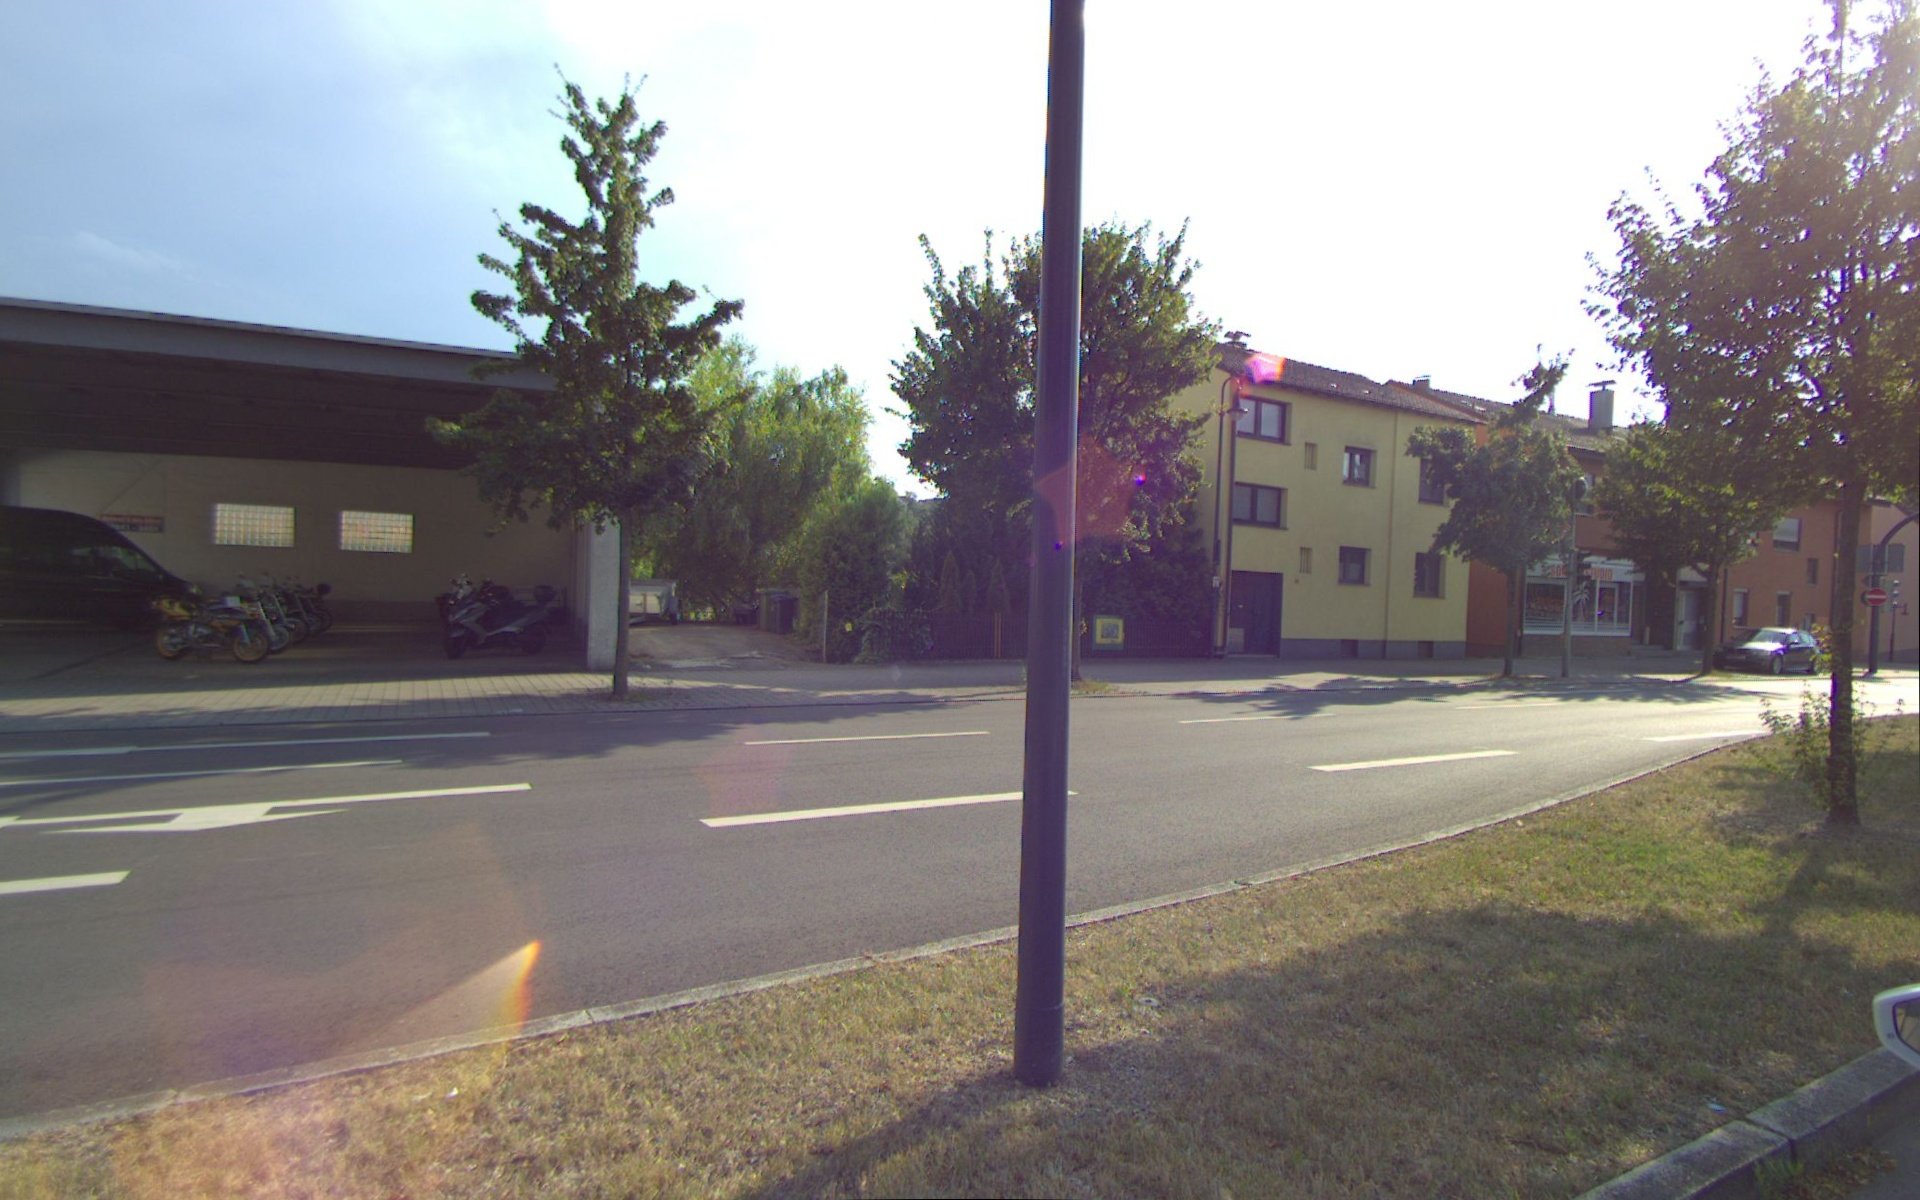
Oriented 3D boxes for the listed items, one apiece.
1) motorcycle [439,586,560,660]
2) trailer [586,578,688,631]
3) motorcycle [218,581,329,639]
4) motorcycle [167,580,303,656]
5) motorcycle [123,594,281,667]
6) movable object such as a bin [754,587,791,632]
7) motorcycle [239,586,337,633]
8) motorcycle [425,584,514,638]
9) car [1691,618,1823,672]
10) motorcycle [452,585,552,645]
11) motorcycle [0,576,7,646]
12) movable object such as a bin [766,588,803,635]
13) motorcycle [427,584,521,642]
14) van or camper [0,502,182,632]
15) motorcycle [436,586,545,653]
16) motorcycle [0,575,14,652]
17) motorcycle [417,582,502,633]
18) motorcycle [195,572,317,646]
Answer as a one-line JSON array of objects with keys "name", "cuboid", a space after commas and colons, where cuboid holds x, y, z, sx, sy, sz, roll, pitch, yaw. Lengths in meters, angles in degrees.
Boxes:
[{"name": "motorcycle", "cuboid": [-8.627, 0.421, 18.924, 0.553, 1.325, 2.112, 1, 0, 30]}, {"name": "trailer", "cuboid": [-8.114, 0.069, 25.529, 1.692, 1.199, 3.594, 1, 1, -5]}, {"name": "motorcycle", "cuboid": [-15.831, 0.227, 23.183, 2.111, 1.275, 0.647, 1, 0, 0]}, {"name": "motorcycle", "cuboid": [-13.546, 0.326, 18.781, 2.111, 1.347, 0.563, 1, 0, 0]}, {"name": "motorcycle", "cuboid": [-12.509, 0.493, 16.602, 2.111, 1.139, 0.631, 1, 0, 0]}, {"name": "movable object such as a bin", "cuboid": [-4.780, 0.241, 25.594, 0.712, 1.101, 0.727, 1, 3, -30]}, {"name": "motorcycle", "cuboid": [-17.067, 0.238, 25.532, 2.111, 1.138, 0.563, 1, 0, 0]}, {"name": "motorcycle", "cuboid": [-12.567, 0.274, 25.806, 0.553, 1.325, 2.086, 1, 0, 30]}, {"name": "car", "cuboid": [25.919, 1.448, 32.666, 3.949, 1.573, 1.836, 1, 2, -27]}, {"name": "motorcycle", "cuboid": [-10.477, 0.340, 23.052, 0.612, 1.325, 2.086, 1, 0, 30]}, {"name": "motorcycle", "cuboid": [-18.636, 0.189, 18.104, 0.637, 1.329, 2.007, 1, 0, 23]}, {"name": "movable object such as a bin", "cuboid": [-4.339, 0.270, 24.822, 0.688, 1.101, 0.727, 1, 3, -30]}, {"name": "motorcycle", "cuboid": [-11.800, 0.314, 24.464, 0.573, 1.325, 2.086, 1, 0, 30]}, {"name": "van or camper", "cuboid": [-20.469, -0.697, 22.025, 1.963, 2.716, 5.032, 1, 0, 27]}, {"name": "motorcycle", "cuboid": [-9.666, 0.397, 20.785, 0.553, 1.325, 2.086, 1, 0, 30]}, {"name": "motorcycle", "cuboid": [-17.241, 0.222, 16.776, 0.637, 1.329, 2.007, 1, 0, 23]}, {"name": "motorcycle", "cuboid": [-13.508, 0.208, 27.174, 0.553, 1.325, 2.086, 1, 0, 30]}, {"name": "motorcycle", "cuboid": [-14.709, 0.192, 21.013, 2.111, 1.468, 0.594, 1, 0, 0]}]
